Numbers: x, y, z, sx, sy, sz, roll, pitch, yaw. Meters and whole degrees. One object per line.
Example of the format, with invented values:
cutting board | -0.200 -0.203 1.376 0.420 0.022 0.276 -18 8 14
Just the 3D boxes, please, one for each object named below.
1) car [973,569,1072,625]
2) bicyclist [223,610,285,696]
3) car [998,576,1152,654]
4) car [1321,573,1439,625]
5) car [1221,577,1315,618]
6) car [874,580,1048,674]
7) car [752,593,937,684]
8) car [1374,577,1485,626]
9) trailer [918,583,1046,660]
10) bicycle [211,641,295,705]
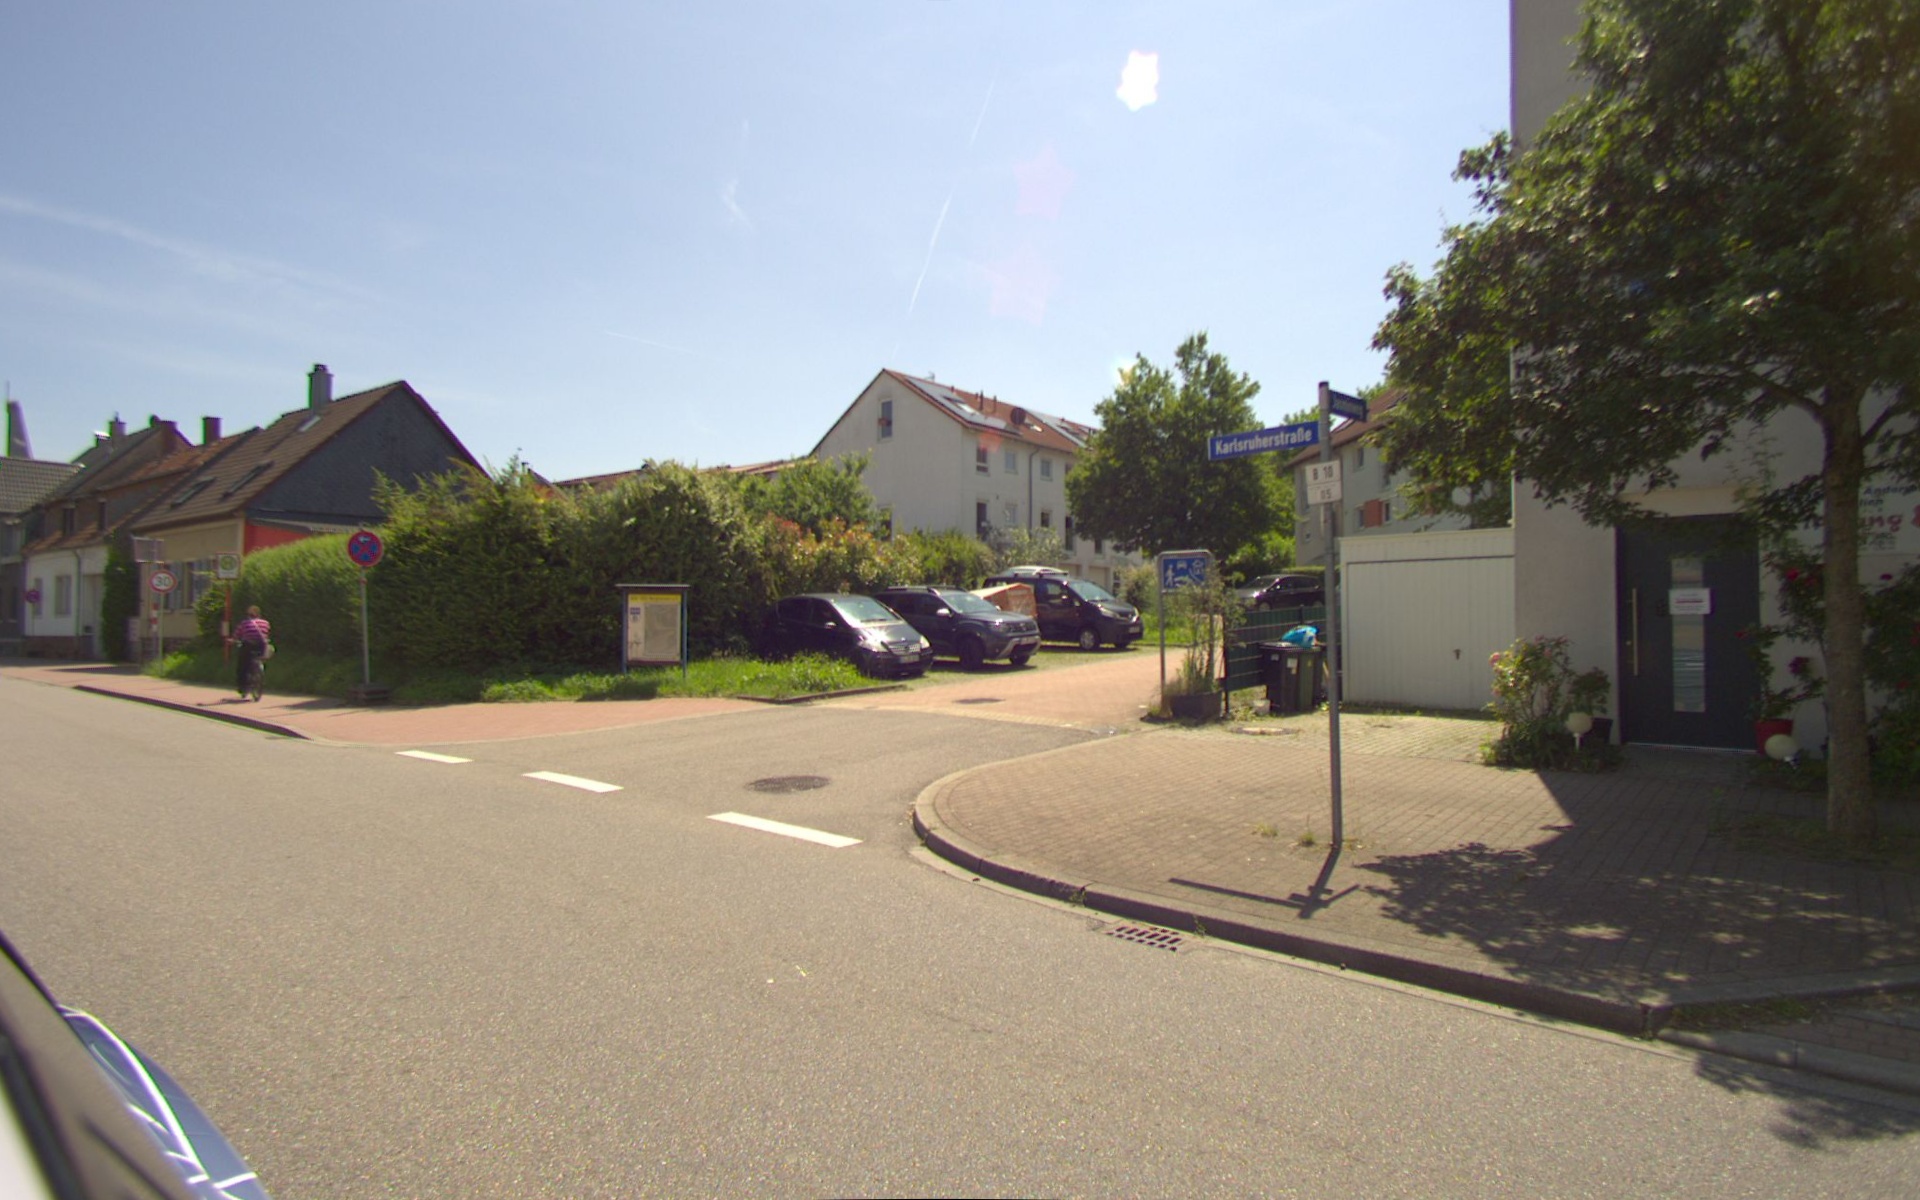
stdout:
car | 2.079 -0.117 32.943 1.419 1.747 3.594 -1 1 38
bicyclist | -12.964 0.960 18.572 0.908 1.505 0.652 -1 1 37
car | 2.832 0.362 25.375 3.552 1.794 1.605 -1 1 44
car | 14.134 -0.068 34.010 3.933 1.635 1.754 -2 1 -33
car | 11.589 -0.108 38.010 3.580 1.463 1.595 -1 -1 -39
car | -0.028 0.534 21.411 3.511 1.793 1.605 -1 1 44
car | -2.312 0.703 19.775 3.653 1.552 1.605 -1 1 44
car | 14.855 0.036 31.940 3.937 1.439 1.695 -2 0 -41
trailer | 0.517 0.509 24.212 2.688 1.676 1.413 -1 2 37
bicycle | -13.046 1.316 18.652 2.023 1.064 0.665 -1 1 38
